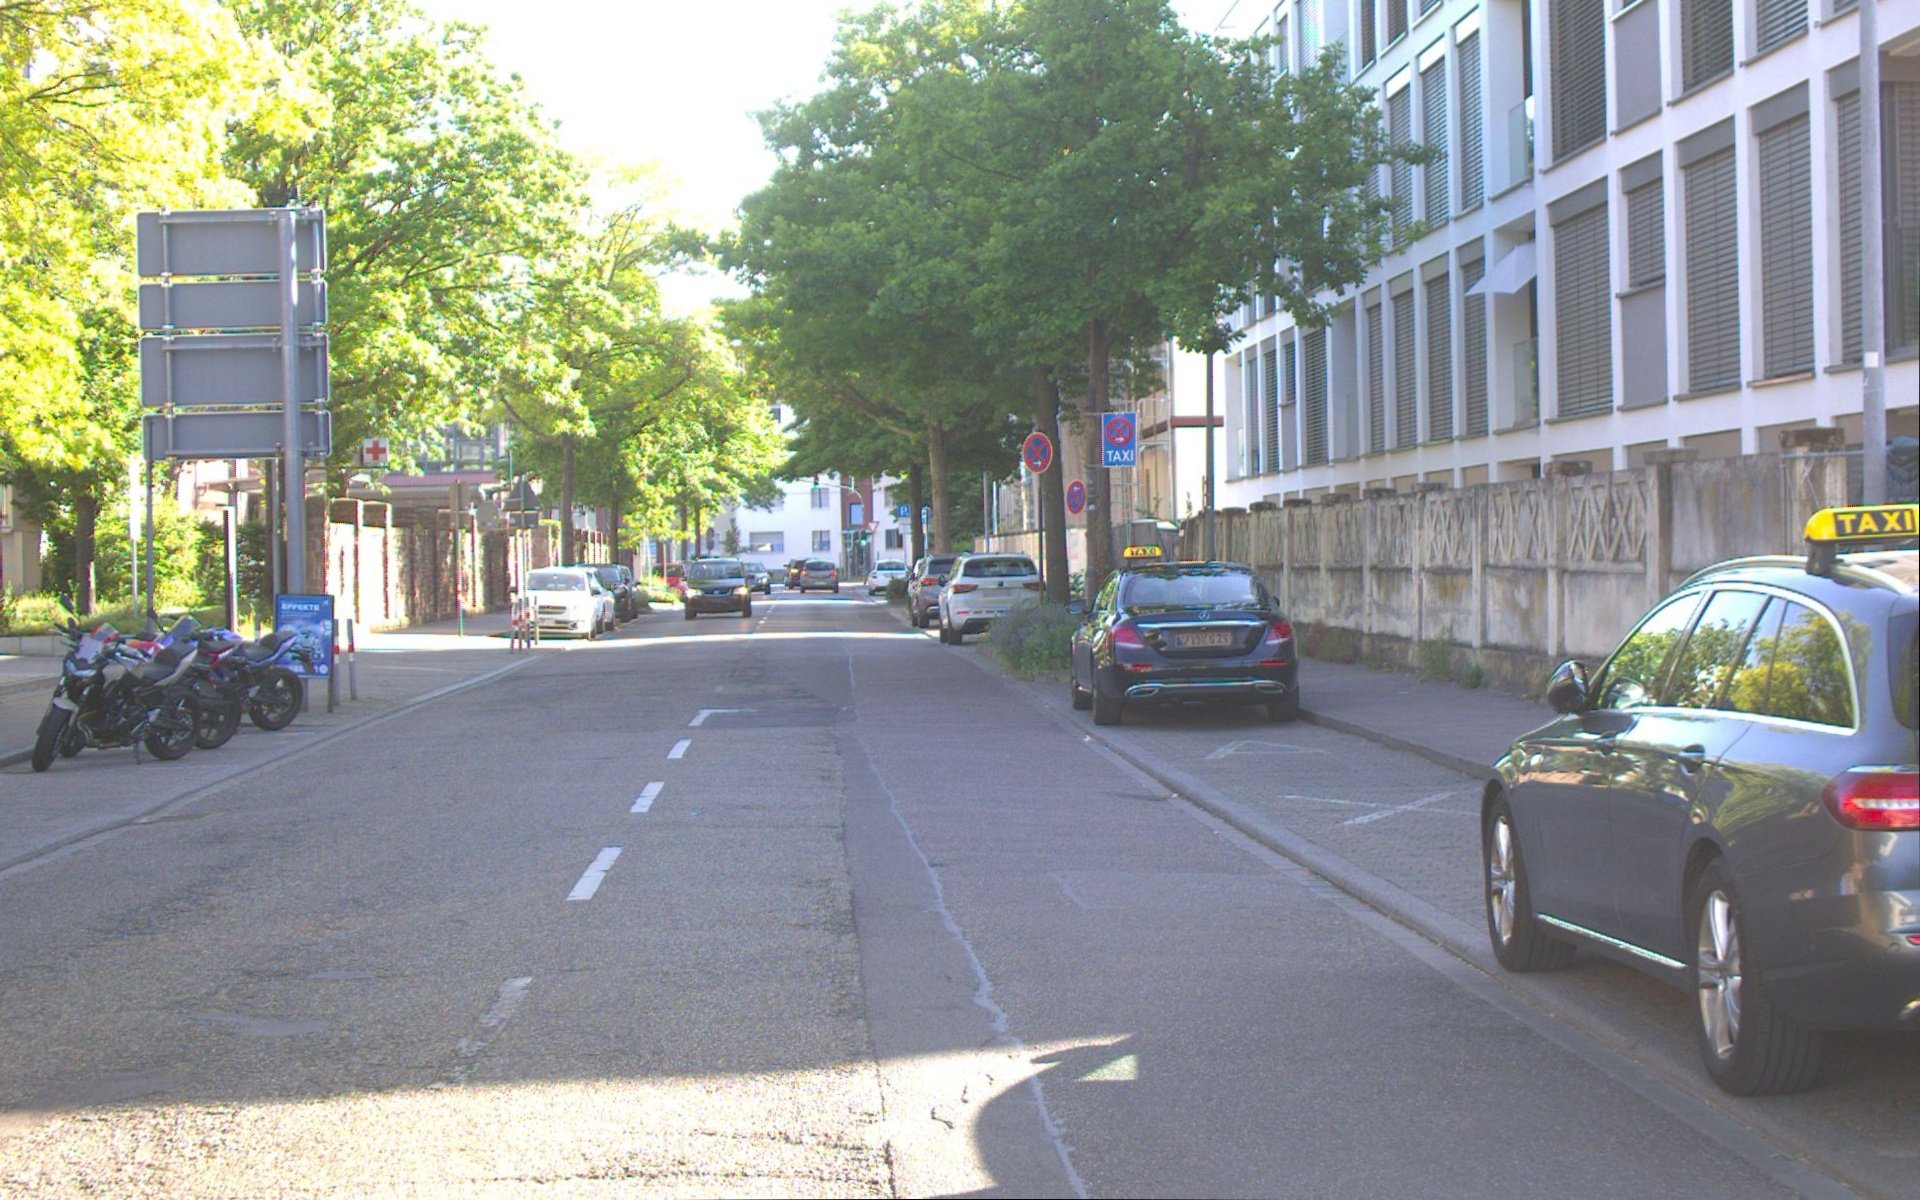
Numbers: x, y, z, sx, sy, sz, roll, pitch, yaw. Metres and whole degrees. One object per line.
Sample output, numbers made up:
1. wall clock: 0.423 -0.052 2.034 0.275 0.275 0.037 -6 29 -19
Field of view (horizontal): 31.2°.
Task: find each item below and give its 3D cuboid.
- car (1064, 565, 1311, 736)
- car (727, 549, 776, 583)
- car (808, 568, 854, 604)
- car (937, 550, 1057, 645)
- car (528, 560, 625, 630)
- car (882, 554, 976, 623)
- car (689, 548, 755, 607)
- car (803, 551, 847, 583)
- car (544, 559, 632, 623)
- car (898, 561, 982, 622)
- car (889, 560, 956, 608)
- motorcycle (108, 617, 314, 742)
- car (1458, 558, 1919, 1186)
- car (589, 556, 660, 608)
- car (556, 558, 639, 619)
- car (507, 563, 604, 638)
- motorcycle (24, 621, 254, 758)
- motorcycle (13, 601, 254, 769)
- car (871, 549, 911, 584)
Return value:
1. car: 2.052 0.418 32.037 1.767 1.435 4.001 -1 1 -4
2. car: -9.269 -1.527 153.017 1.993 1.448 4.000 -1 1 -1
3. car: -5.711 -0.629 151.845 1.766 1.543 4.067 -1 1 -5
4. car: 0.622 -0.070 60.825 1.950 1.573 3.837 -1 1 -1
5. car: -8.742 -0.133 78.539 1.907 1.525 4.001 -1 1 -2
6. car: -0.721 -0.278 76.558 1.993 1.460 3.837 -1 1 -1
7. car: -6.428 -0.634 93.040 1.653 1.525 4.001 -1 1 -2
8. car: -5.969 -1.478 152.490 1.889 1.395 3.837 -1 1 -1
9. car: -9.335 -0.255 86.556 1.907 1.525 4.001 -1 1 -2
10. car: -0.513 -0.221 85.468 1.993 1.420 3.837 -1 1 -1
11. car: -1.193 -0.520 107.494 1.993 1.420 3.837 -1 1 -1
12. motorcycle: -7.015 0.727 32.311 0.577 1.071 2.118 -1 1 31
13. car: 2.847 0.620 10.630 1.703 1.463 4.789 -1 1 -3
14. car: -10.101 -0.559 103.746 1.907 1.525 4.001 -1 1 -2
15. car: -9.537 -0.318 90.693 1.907 1.525 4.001 -1 1 -2
16. car: -8.500 -0.014 72.502 1.767 1.482 4.001 -1 1 -4
17. motorcycle: -7.011 0.747 29.468 0.577 1.071 2.118 -1 1 31
18. motorcycle: -6.745 0.673 28.167 0.577 1.271 2.118 -1 1 31
19. car: -2.855 -1.387 141.725 1.585 1.395 3.837 -1 1 -1
